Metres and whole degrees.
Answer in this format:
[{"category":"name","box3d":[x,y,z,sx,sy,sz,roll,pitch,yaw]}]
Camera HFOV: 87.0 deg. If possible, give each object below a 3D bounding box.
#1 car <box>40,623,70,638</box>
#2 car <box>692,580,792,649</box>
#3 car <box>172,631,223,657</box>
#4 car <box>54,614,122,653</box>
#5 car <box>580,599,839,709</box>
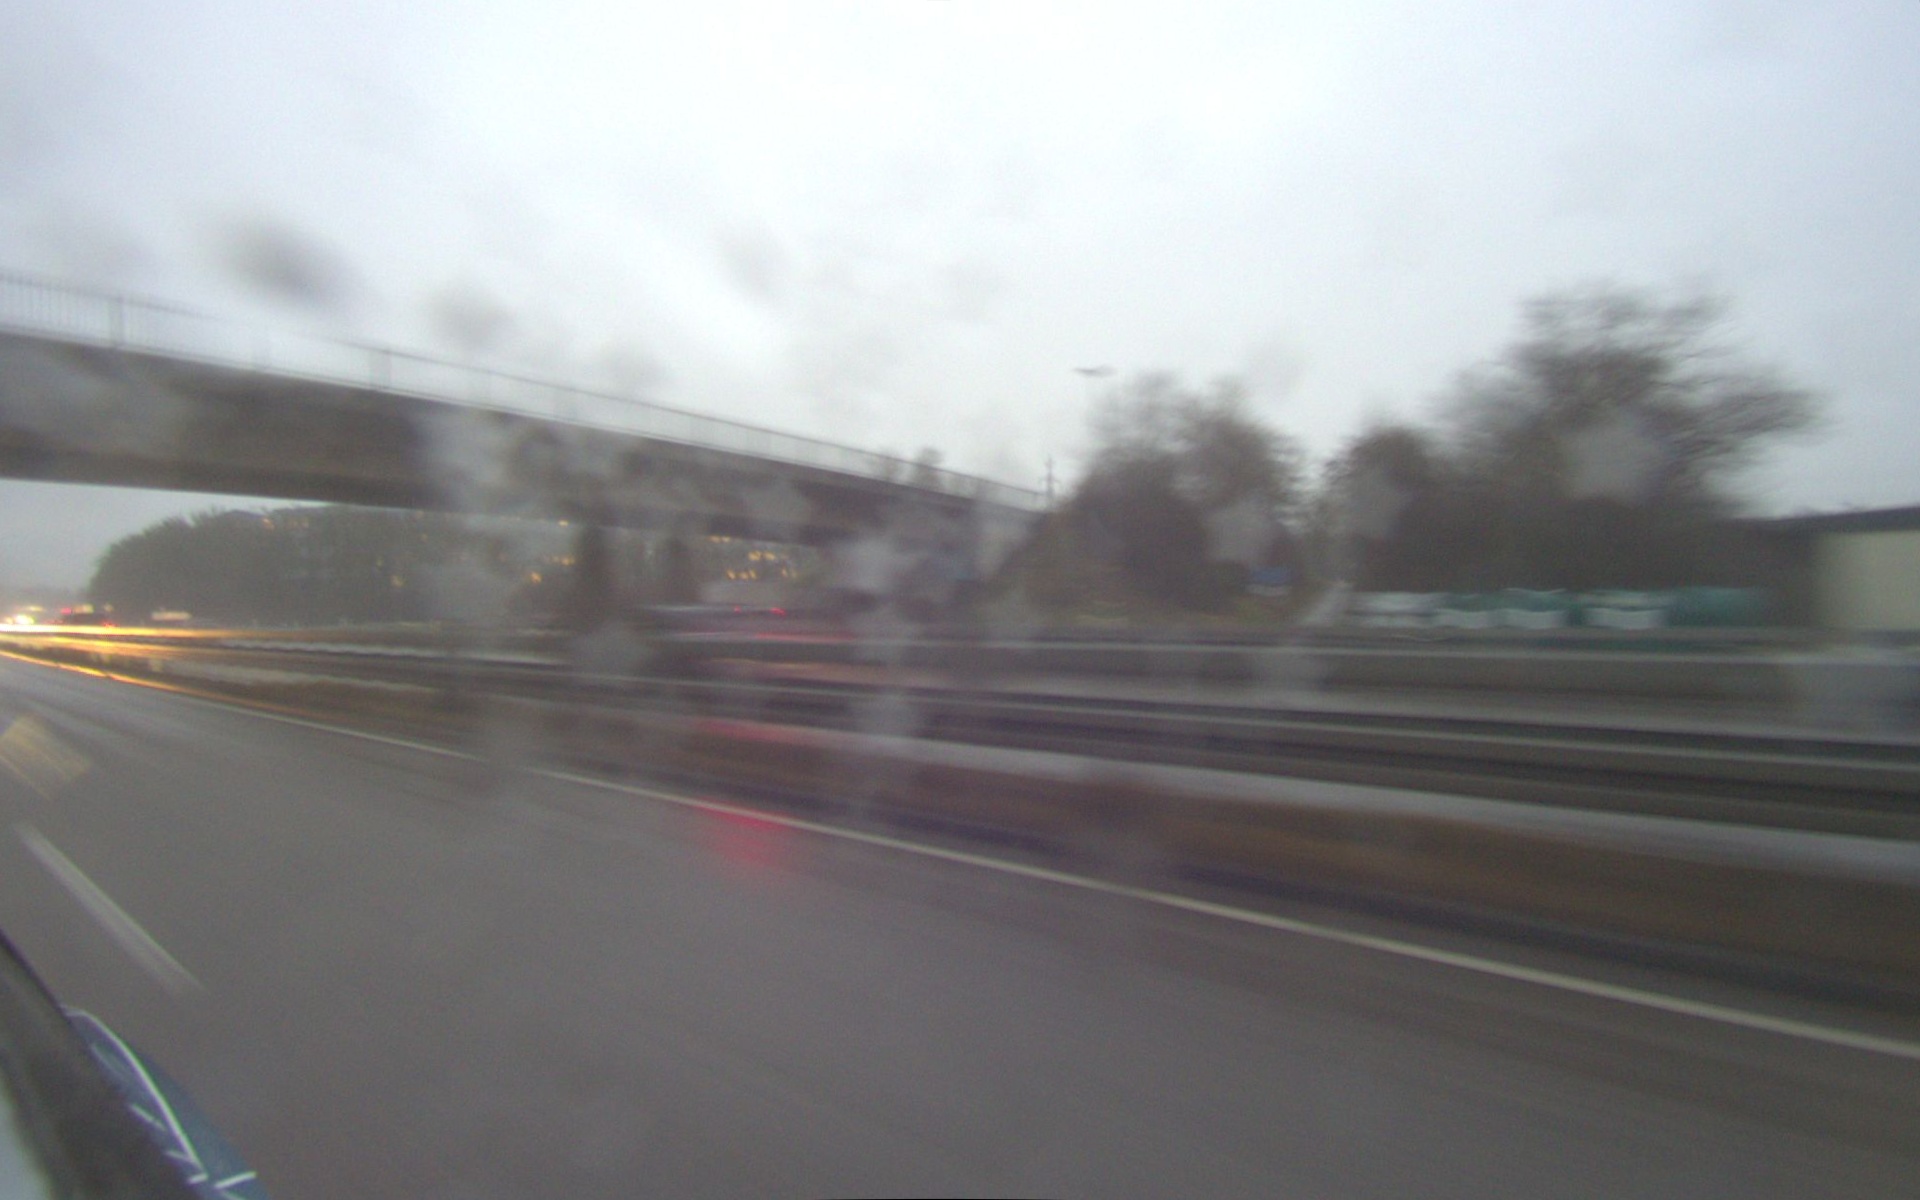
[{"category":"car","box3d":[-114.950,3.856,128.547,3.989,1.697,1.832,-2,1,34]},{"category":"car","box3d":[-9.631,0.650,44.492,2.164,2.793,4.584,-4,1,-42]},{"category":"car","box3d":[-38.594,2.211,51.210,3.365,1.231,1.419,-2,-1,41]},{"category":"car","box3d":[-46.809,1.785,54.279,5.267,1.887,1.973,-2,1,41]},{"category":"car","box3d":[-4.236,0.837,16.714,4.476,1.592,1.858,-2,-1,40]}]
